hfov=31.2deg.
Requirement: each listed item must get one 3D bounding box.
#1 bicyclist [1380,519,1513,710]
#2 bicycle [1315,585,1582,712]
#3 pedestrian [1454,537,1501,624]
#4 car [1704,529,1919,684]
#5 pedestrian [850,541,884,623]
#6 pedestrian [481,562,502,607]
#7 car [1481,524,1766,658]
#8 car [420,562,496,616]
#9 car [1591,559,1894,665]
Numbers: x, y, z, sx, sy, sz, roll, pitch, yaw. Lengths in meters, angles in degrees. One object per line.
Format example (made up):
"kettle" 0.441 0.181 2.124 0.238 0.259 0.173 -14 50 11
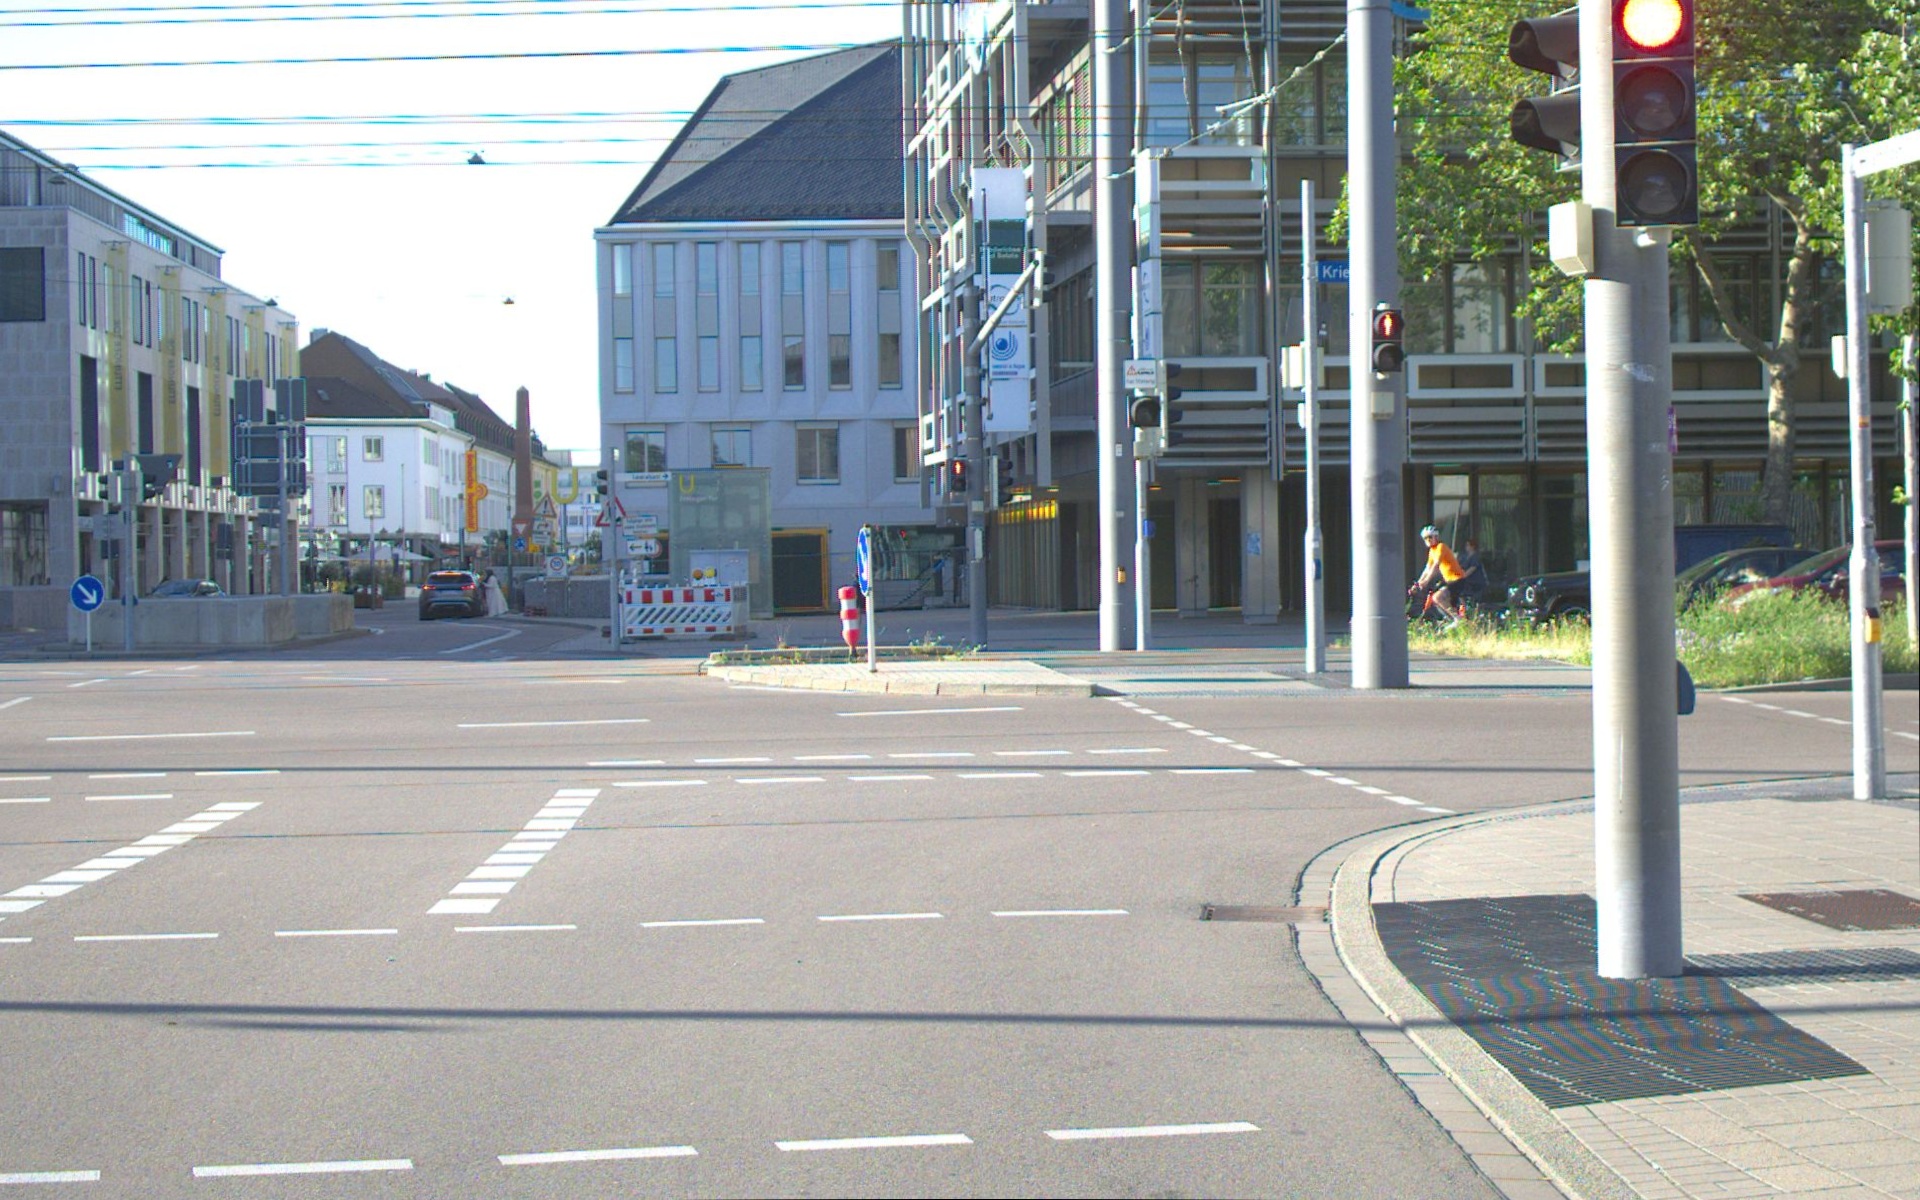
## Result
"bicyclist" 6.665 0.191 47.142 1.567 2.571 0.932 -1 1 -9
"bicycle" 6.696 0.651 47.148 3.490 1.653 0.932 -1 1 -9
"pedestrian" 9.974 -0.384 66.259 0.729 1.652 0.651 -1 1 -7
"car" 12.290 0.090 46.411 3.986 2.007 2.000 1 0 -3
"pedestrian" -1.887 -0.363 69.665 0.663 1.652 0.755 -1 1 -3
"pedestrian" -14.757 -0.501 108.297 0.609 1.406 0.570 -1 1 -6
"car" 10.348 -0.142 53.780 3.986 2.007 2.000 1 0 -3
"car" -15.805 -0.357 108.424 2.199 1.601 4.327 -1 1 -6
"car" 11.497 0.160 50.663 3.986 1.503 1.868 0 1 -3
